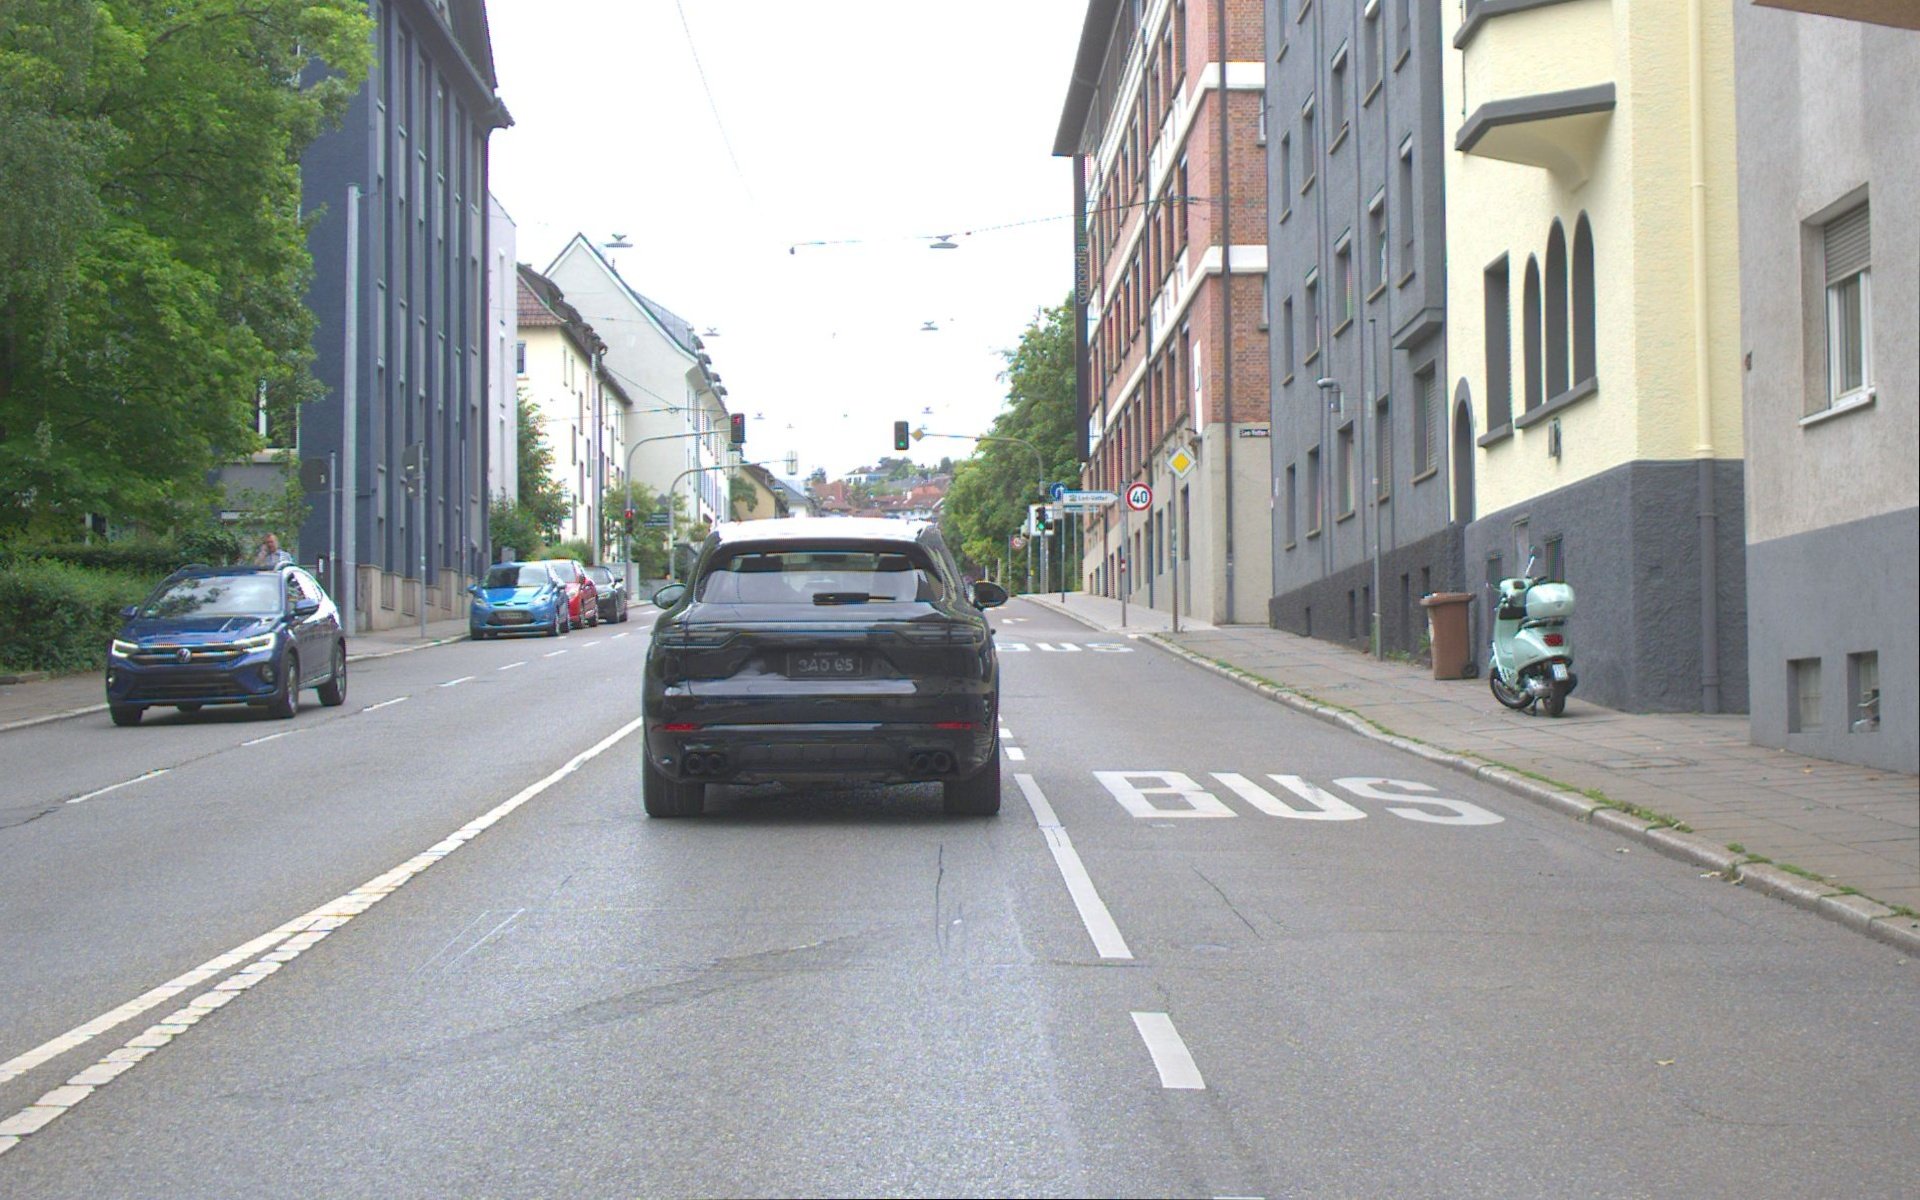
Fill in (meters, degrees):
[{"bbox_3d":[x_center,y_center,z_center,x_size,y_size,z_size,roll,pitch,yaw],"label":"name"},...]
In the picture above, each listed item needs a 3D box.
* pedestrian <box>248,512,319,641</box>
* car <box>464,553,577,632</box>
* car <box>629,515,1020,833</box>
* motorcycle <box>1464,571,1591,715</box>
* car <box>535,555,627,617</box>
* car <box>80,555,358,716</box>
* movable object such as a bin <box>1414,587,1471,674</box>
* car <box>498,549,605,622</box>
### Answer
[{"bbox_3d":[-10.437,-0.363,53.053,0.882,1.943,0.867,2,1,-1],"label":"pedestrian"},{"bbox_3d":[-8.601,-0.175,67.496,1.714,1.419,3.989,-2,1,-1],"label":"car"},{"bbox_3d":[-0.887,0.369,20.251,2.023,1.636,4.357,1,0,-5],"label":"car"},{"bbox_3d":[4.872,0.350,29.634,0.537,1.152,2.227,-3,1,-3],"label":"motorcycle"},{"bbox_3d":[-8.717,-0.346,79.324,1.714,1.336,3.904,-2,1,-1],"label":"car"},{"bbox_3d":[-7.341,0.308,34.446,1.839,1.443,4.311,-2,1,0],"label":"car"},{"bbox_3d":[5.127,0.324,36.559,0.474,0.889,0.517,-3,1,-1],"label":"movable object such as a bin"},{"bbox_3d":[-8.715,-0.332,73.617,1.714,1.451,3.989,-2,1,0],"label":"car"}]
